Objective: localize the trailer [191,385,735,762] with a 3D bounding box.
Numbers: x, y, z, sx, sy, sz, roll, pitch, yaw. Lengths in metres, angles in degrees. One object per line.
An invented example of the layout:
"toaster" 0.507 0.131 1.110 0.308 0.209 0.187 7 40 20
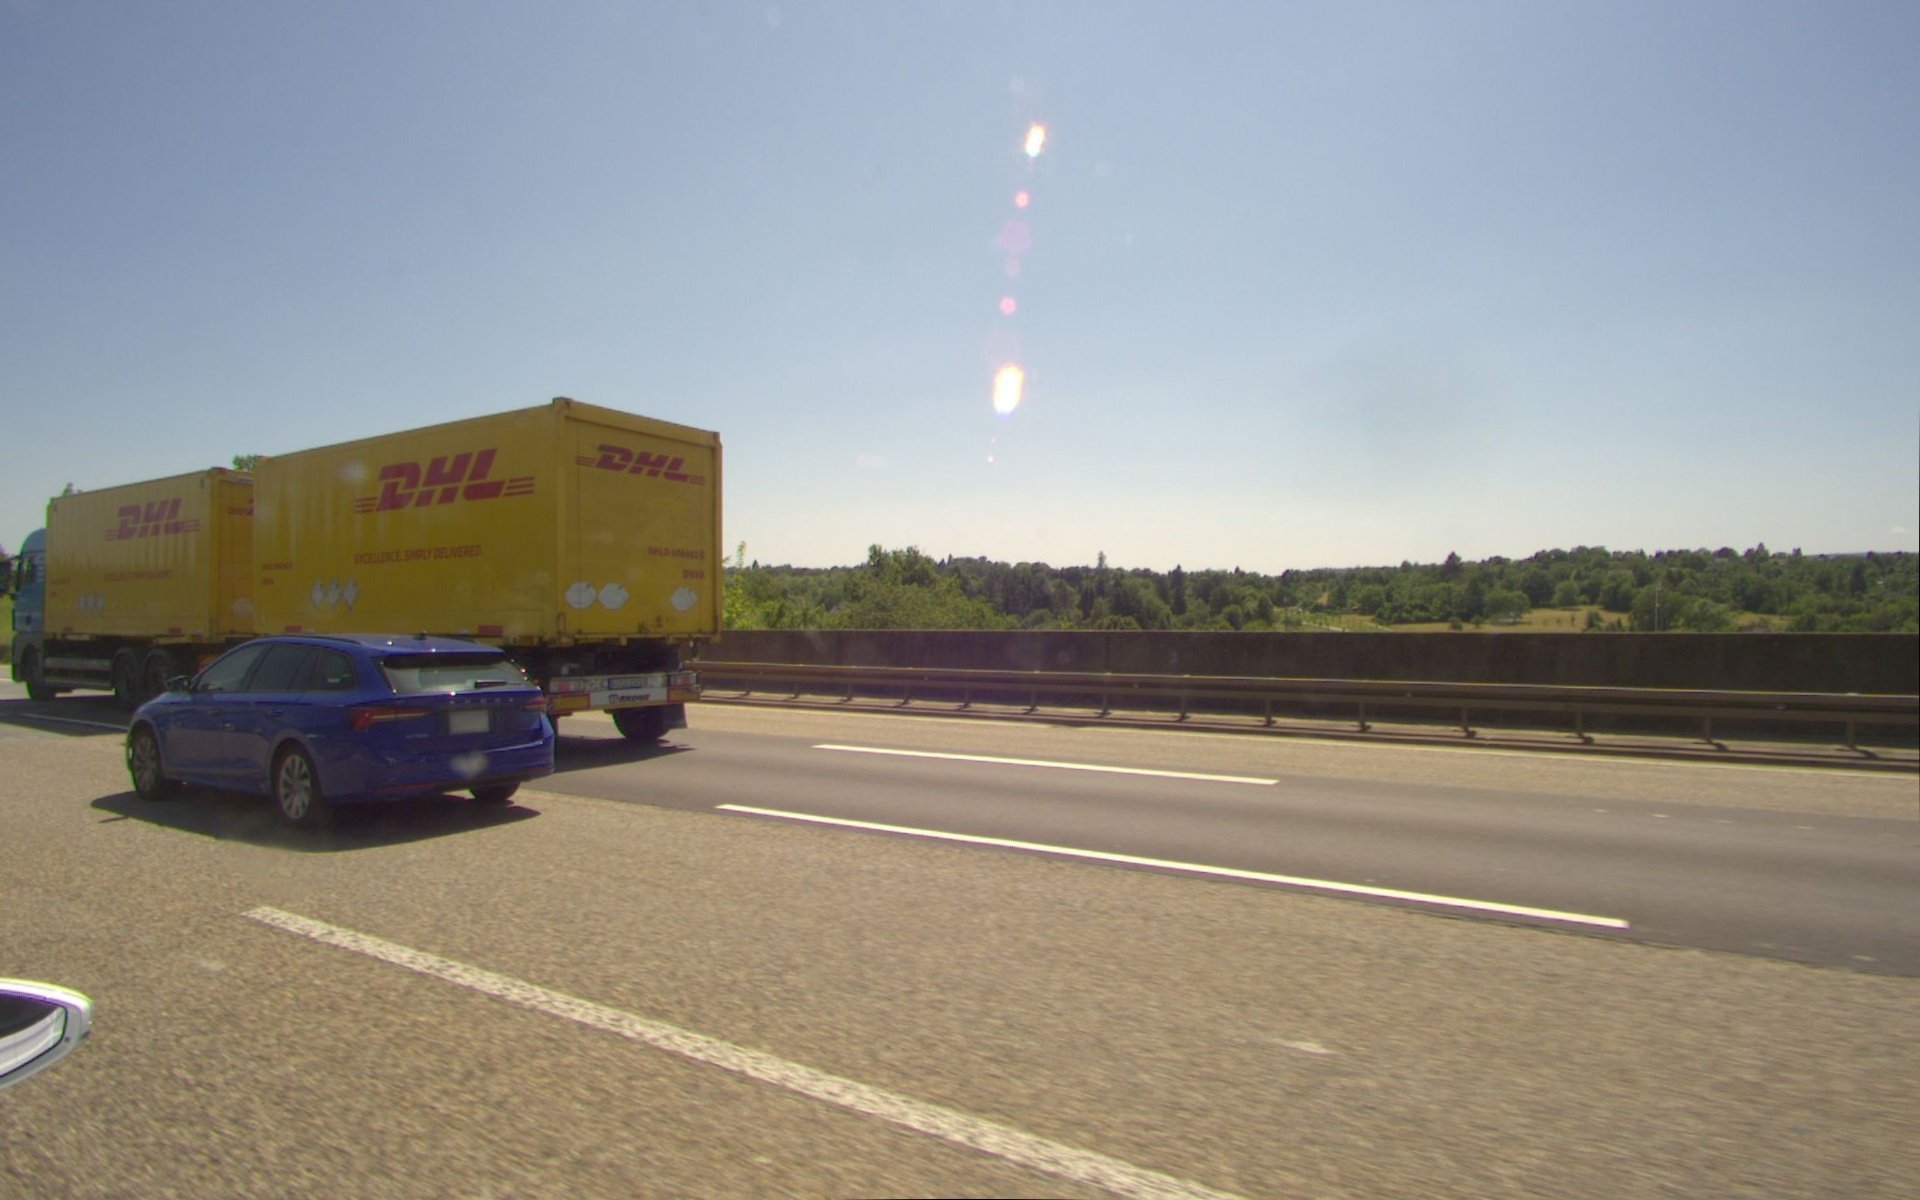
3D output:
"trailer" -7.668 -0.178 14.749 9.243 4.169 2.761 -1 -2 32

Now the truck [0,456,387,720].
"truck" -15.267 -0.059 19.590 9.811 4.161 2.761 -1 -2 32

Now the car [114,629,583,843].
"car" -5.430 1.000 8.735 4.364 1.459 1.704 -1 -2 32
